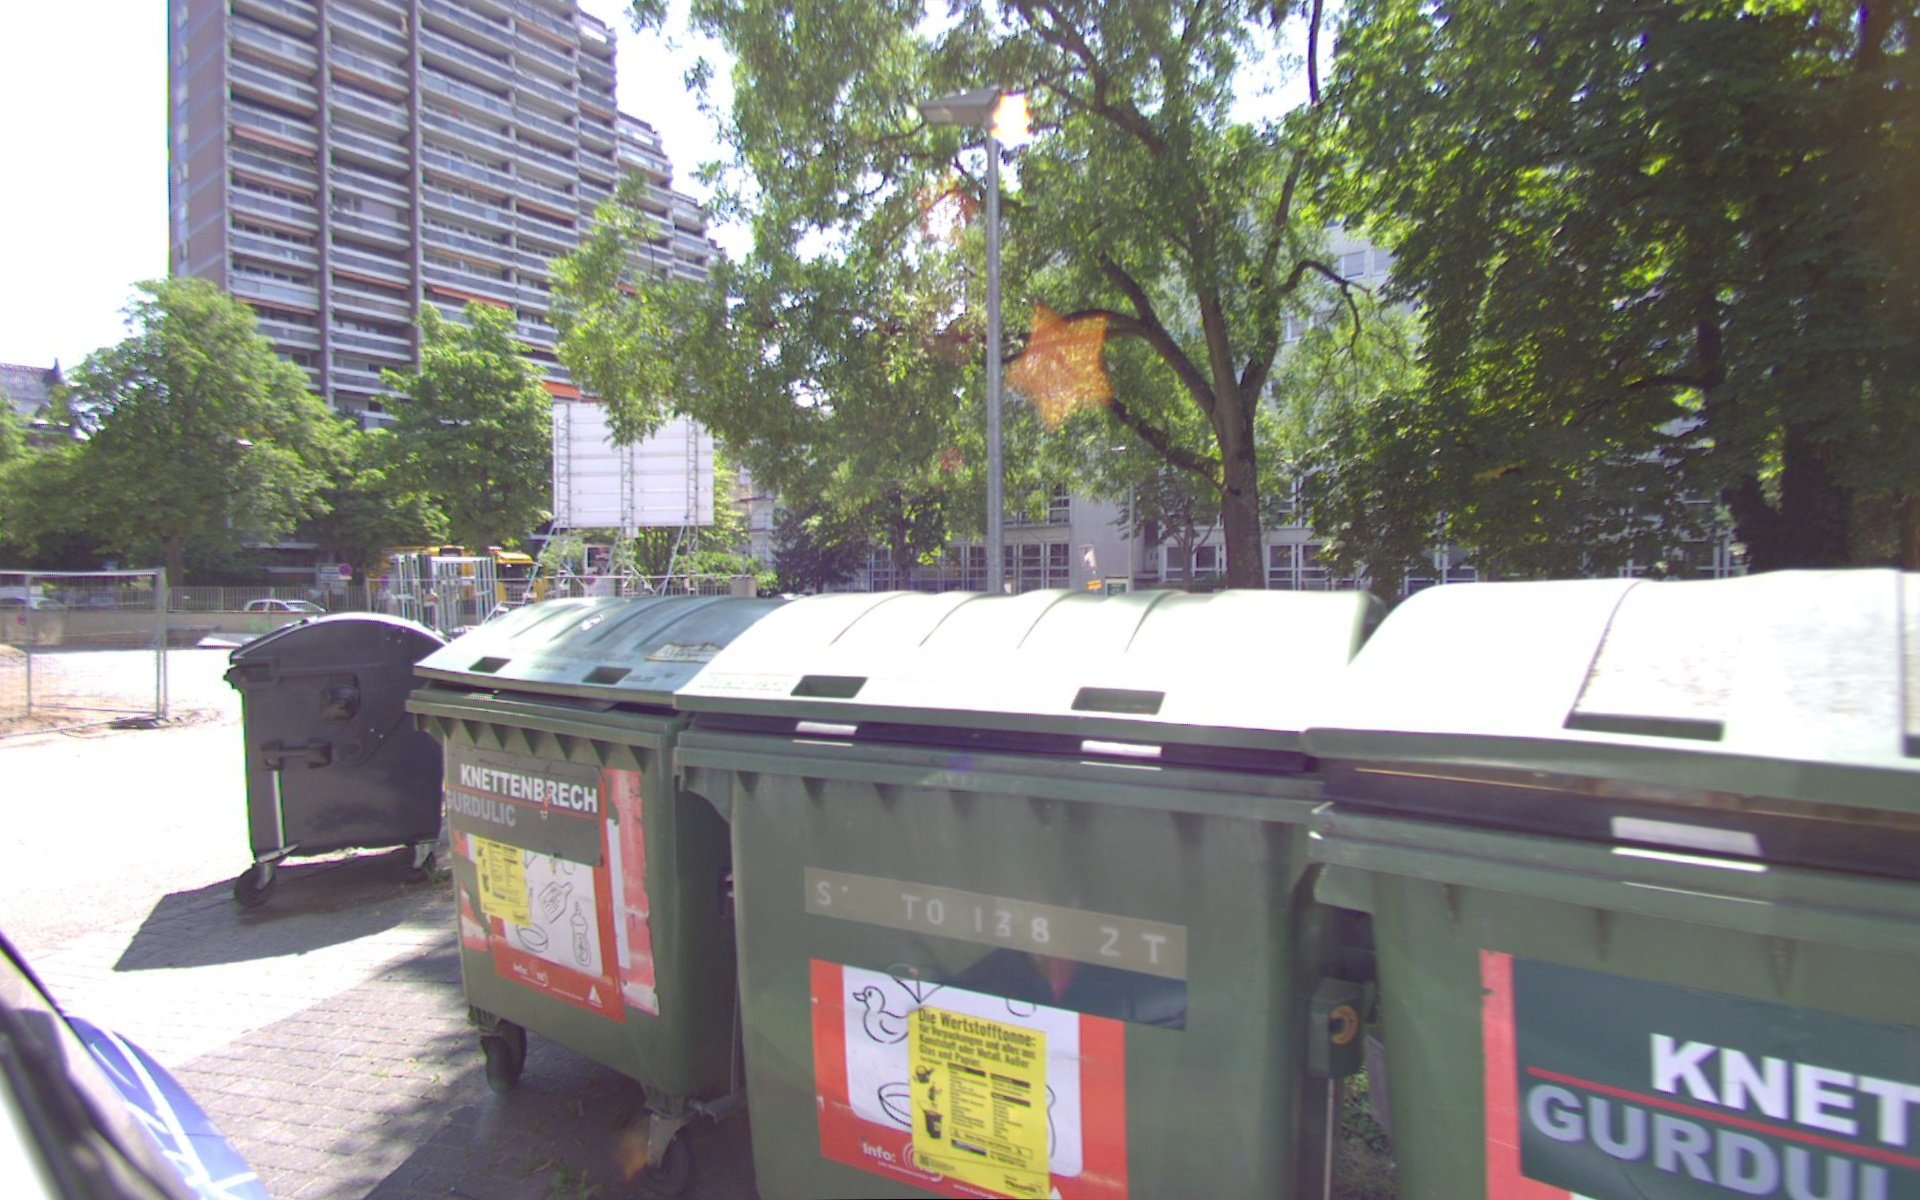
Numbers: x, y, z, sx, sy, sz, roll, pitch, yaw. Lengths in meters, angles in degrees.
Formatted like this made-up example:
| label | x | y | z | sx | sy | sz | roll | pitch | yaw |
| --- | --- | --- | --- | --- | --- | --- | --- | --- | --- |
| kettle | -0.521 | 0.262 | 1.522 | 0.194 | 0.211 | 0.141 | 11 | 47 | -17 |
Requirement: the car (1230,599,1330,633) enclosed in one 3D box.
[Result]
| label | x | y | z | sx | sy | sz | roll | pitch | yaw |
| --- | --- | --- | --- | --- | --- | --- | --- | --- | --- |
| car | 14.021 | 0.657 | 44.484 | 1.686 | 1.424 | 3.991 | 0 | 0 | -35 |

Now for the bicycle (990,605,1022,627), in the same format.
| label | x | y | z | sx | sy | sz | roll | pitch | yaw |
| --- | --- | --- | --- | --- | --- | --- | --- | --- | --- |
| bicycle | 2.407 | 0.820 | 52.810 | 0.568 | 1.139 | 1.916 | 0 | 0 | 42 |

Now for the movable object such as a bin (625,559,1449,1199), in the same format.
| label | x | y | z | sx | sy | sz | roll | pitch | yaw |
| --- | --- | --- | --- | --- | --- | --- | --- | --- | --- |
| movable object such as a bin | 0.223 | 0.696 | 2.040 | 1.353 | 1.490 | 1.086 | 0 | 0 | 27 |

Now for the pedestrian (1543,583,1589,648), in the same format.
| label | x | y | z | sx | sy | sz | roll | pitch | yaw |
| --- | --- | --- | --- | --- | --- | --- | --- | --- | --- |
| pedestrian | 14.914 | 0.373 | 24.921 | 0.736 | 1.579 | 0.695 | 0 | 0 | 10 |

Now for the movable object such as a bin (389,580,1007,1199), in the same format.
| label | x | y | z | sx | sy | sz | roll | pitch | yaw |
| --- | --- | --- | --- | --- | --- | --- | --- | --- | --- |
| movable object such as a bin | -0.740 | 0.704 | 2.953 | 1.323 | 1.490 | 1.193 | 0 | 0 | 37 |

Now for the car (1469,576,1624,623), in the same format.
| label | x | y | z | sx | sy | sz | roll | pitch | yaw |
| --- | --- | --- | --- | --- | --- | --- | --- | --- | --- |
| car | 20.935 | -0.026 | 36.287 | 4.349 | 1.619 | 1.995 | 0 | 0 | 9 |

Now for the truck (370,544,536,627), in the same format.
| label | x | y | z | sx | sy | sz | roll | pitch | yaw |
| --- | --- | --- | --- | --- | --- | --- | --- | --- | --- |
| truck | -26.605 | -0.722 | 52.954 | 9.700 | 4.036 | 2.725 | 0 | 1 | 29 |

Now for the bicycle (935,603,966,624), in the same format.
| label | x | y | z | sx | sy | sz | roll | pitch | yaw |
| --- | --- | --- | --- | --- | --- | --- | --- | --- | --- |
| bicycle | -0.503 | 0.713 | 54.691 | 0.568 | 1.139 | 1.916 | 0 | 0 | 42 |

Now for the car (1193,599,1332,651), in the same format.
| label | x | y | z | sx | sy | sz | roll | pitch | yaw |
| --- | --- | --- | --- | --- | --- | --- | --- | --- | --- |
| car | 8.775 | 0.729 | 29.607 | 3.683 | 1.468 | 1.585 | 0 | -2 | 9 |

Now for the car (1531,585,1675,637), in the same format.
| label | x | y | z | sx | sy | sz | roll | pitch | yaw |
| --- | --- | --- | --- | --- | --- | --- | --- | --- | --- |
| car | 26.413 | 0.419 | 41.755 | 1.965 | 2.029 | 4.646 | 0 | 0 | -26 |

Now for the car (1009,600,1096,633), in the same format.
| label | x | y | z | sx | sy | sz | roll | pitch | yaw |
| --- | --- | --- | --- | --- | --- | --- | --- | --- | --- |
| car | 4.252 | 0.730 | 46.900 | 1.725 | 1.481 | 4.208 | 0 | 0 | -35 |

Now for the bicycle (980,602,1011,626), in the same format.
| label | x | y | z | sx | sy | sz | roll | pitch | yaw |
| --- | --- | --- | --- | --- | --- | --- | --- | --- | --- |
| bicycle | 1.875 | 0.729 | 53.288 | 0.568 | 1.247 | 1.916 | 0 | 0 | 42 |

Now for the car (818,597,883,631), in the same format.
| label | x | y | z | sx | sy | sz | roll | pitch | yaw |
| --- | --- | --- | --- | --- | --- | --- | --- | --- | --- |
| car | -5.287 | 0.641 | 48.545 | 1.623 | 1.528 | 3.585 | -1 | 0 | -35 |

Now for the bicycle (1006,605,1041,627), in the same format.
| label | x | y | z | sx | sy | sz | roll | pitch | yaw |
| --- | --- | --- | --- | --- | --- | --- | --- | --- | --- |
| bicycle | 3.313 | 0.818 | 52.437 | 0.568 | 1.139 | 2.203 | 0 | 0 | 42 |

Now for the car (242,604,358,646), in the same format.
| label | x | y | z | sx | sy | sz | roll | pitch | yaw |
| --- | --- | --- | --- | --- | --- | --- | --- | --- | --- |
| car | -23.811 | 0.893 | 36.523 | 3.551 | 1.451 | 1.614 | 0 | 0 | 16 |

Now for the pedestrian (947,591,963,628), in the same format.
| label | x | y | z | sx | sy | sz | roll | pitch | yaw |
| --- | --- | --- | --- | --- | --- | --- | --- | --- | --- |
| pedestrian | -0.256 | 0.471 | 50.859 | 0.574 | 1.889 | 0.709 | 0 | 0 | 25 |

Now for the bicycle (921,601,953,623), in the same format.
| label | x | y | z | sx | sy | sz | roll | pitch | yaw |
| --- | --- | --- | --- | --- | --- | --- | --- | --- | --- |
| bicycle | -1.233 | 0.653 | 55.361 | 0.568 | 1.139 | 1.916 | 0 | 0 | 42 |

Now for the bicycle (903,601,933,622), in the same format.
| label | x | y | z | sx | sy | sz | roll | pitch | yaw |
| --- | --- | --- | --- | --- | --- | --- | --- | --- | --- |
| bicycle | -2.342 | 0.655 | 56.396 | 0.568 | 1.139 | 1.902 | 0 | 0 | 39 |

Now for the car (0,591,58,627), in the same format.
| label | x | y | z | sx | sy | sz | roll | pitch | yaw |
| --- | --- | --- | --- | --- | --- | --- | --- | --- | --- |
| car | -55.613 | 0.518 | 59.984 | 1.965 | 2.029 | 4.013 | -1 | 0 | -23 |

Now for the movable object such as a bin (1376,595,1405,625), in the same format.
| label | x | y | z | sx | sy | sz | roll | pitch | yaw |
| --- | --- | --- | --- | --- | --- | --- | --- | --- | --- |
| movable object such as a bin | 20.596 | 0.475 | 48.453 | 1.173 | 1.409 | 1.031 | 0 | -1 | 20 |

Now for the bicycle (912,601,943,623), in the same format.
| label | x | y | z | sx | sy | sz | roll | pitch | yaw |
| --- | --- | --- | --- | --- | --- | --- | --- | --- | --- |
| bicycle | -1.780 | 0.650 | 55.867 | 0.568 | 1.139 | 1.900 | 0 | 0 | 42 |

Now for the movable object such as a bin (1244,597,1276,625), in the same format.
| label | x | y | z | sx | sy | sz | roll | pitch | yaw |
| --- | --- | --- | --- | --- | --- | --- | --- | --- | --- |
| movable object such as a bin | 14.741 | 0.528 | 49.725 | 1.438 | 1.340 | 1.121 | 0 | -1 | 13 |

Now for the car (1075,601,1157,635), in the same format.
| label | x | y | z | sx | sy | sz | roll | pitch | yaw |
| --- | --- | --- | --- | --- | --- | --- | --- | --- | --- |
| car | 7.090 | 0.791 | 46.206 | 1.725 | 1.473 | 3.549 | 0 | 0 | -35 |

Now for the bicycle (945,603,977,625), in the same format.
| label | x | y | z | sx | sy | sz | roll | pitch | yaw |
| --- | --- | --- | --- | --- | --- | --- | --- | --- | --- |
| bicycle | 0.083 | 0.753 | 54.159 | 0.568 | 1.139 | 1.916 | 0 | 0 | 42 |

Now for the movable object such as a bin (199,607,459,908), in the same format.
| label | x | y | z | sx | sy | sz | roll | pitch | yaw |
| --- | --- | --- | --- | --- | --- | --- | --- | --- | --- |
| movable object such as a bin | -3.363 | 0.748 | 5.535 | 1.097 | 1.404 | 1.164 | 0 | 0 | -27 |

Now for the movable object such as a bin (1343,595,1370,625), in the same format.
| label | x | y | z | sx | sy | sz | roll | pitch | yaw |
| --- | --- | --- | --- | --- | --- | --- | --- | --- | --- |
| movable object such as a bin | 19.135 | 0.480 | 48.861 | 1.173 | 1.409 | 1.031 | 0 | -1 | 20 |

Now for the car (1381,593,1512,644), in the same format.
| label | x | y | z | sx | sy | sz | roll | pitch | yaw |
| --- | --- | --- | --- | --- | --- | --- | --- | --- | --- |
| car | 20.481 | 0.720 | 42.769 | 1.966 | 2.029 | 4.643 | 0 | 0 | -34 |

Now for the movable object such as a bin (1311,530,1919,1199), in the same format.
| label | x | y | z | sx | sy | sz | roll | pitch | yaw |
| --- | --- | --- | --- | --- | --- | --- | --- | --- | --- |
| movable object such as a bin | 1.209 | 0.688 | 1.138 | 1.261 | 1.490 | 1.034 | 0 | 0 | 40 |

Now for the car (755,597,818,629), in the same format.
| label | x | y | z | sx | sy | sz | roll | pitch | yaw |
| --- | --- | --- | --- | --- | --- | --- | --- | --- | --- |
| car | -8.445 | 0.620 | 49.067 | 1.788 | 1.474 | 4.035 | -1 | 0 | -29 |

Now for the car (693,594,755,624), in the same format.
| label | x | y | z | sx | sy | sz | roll | pitch | yaw |
| --- | --- | --- | --- | --- | --- | --- | --- | --- | --- |
| car | -11.656 | 0.420 | 49.805 | 1.603 | 1.383 | 4.033 | -1 | 0 | -35 |
